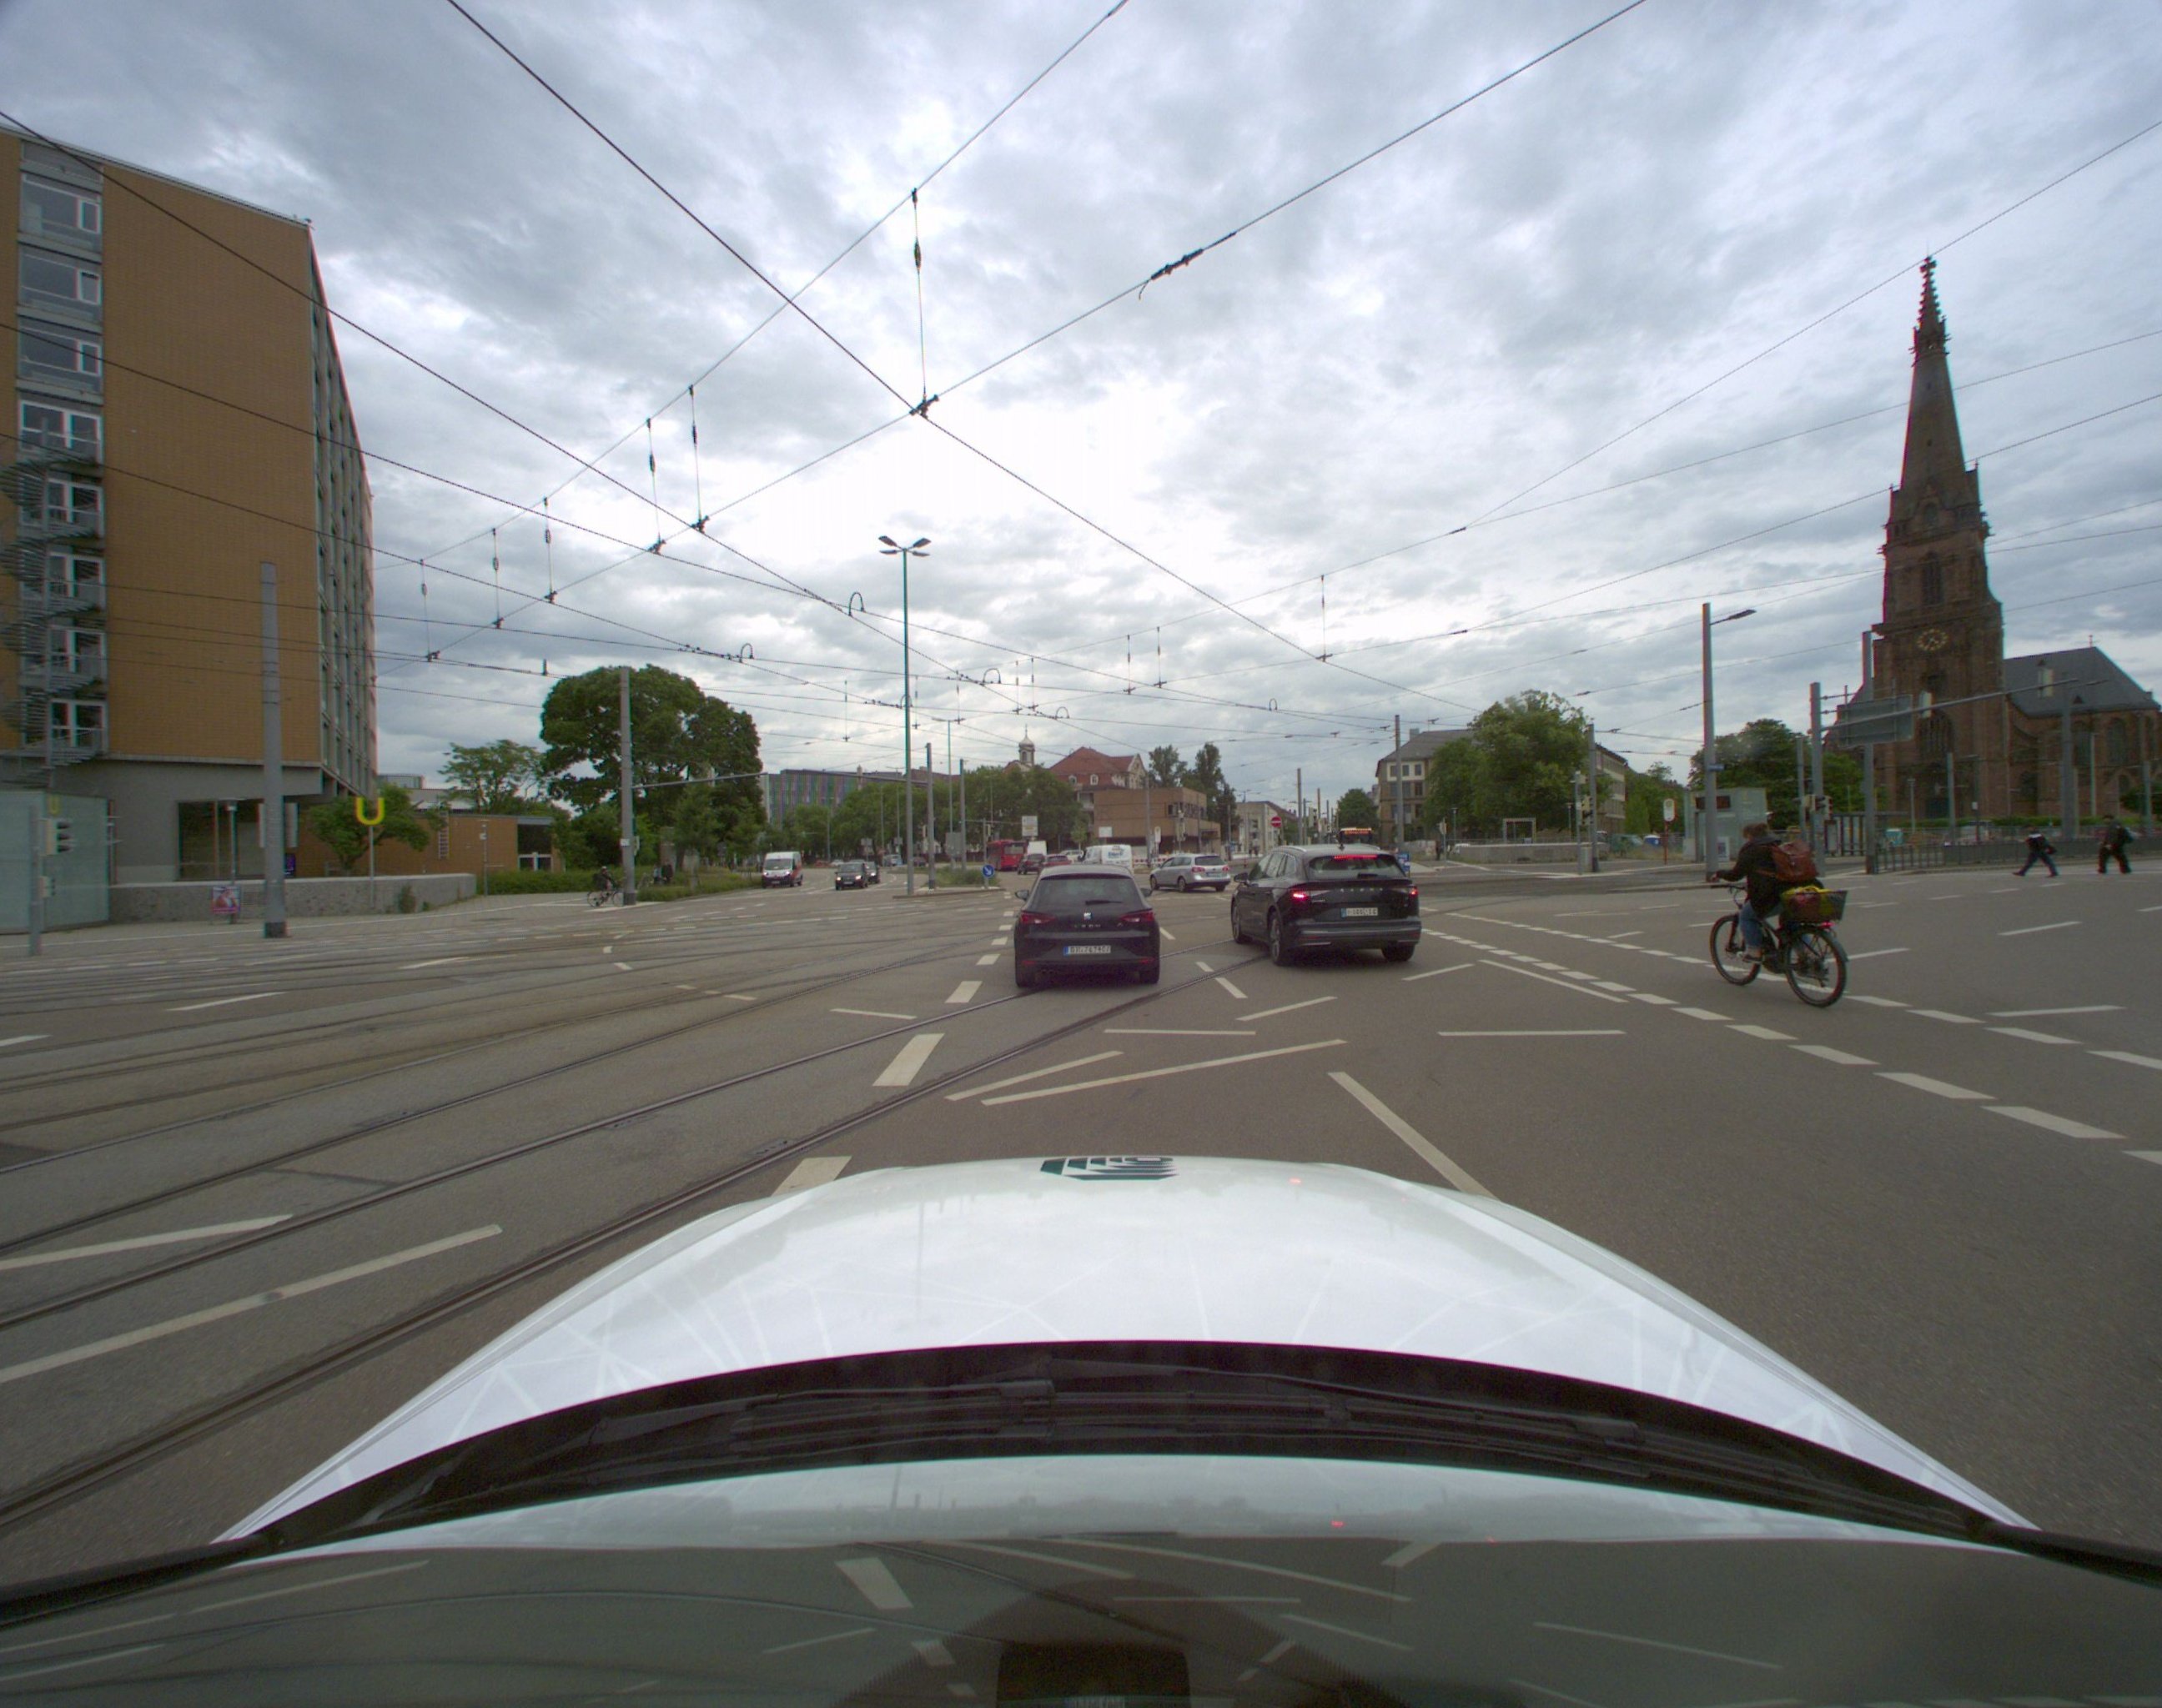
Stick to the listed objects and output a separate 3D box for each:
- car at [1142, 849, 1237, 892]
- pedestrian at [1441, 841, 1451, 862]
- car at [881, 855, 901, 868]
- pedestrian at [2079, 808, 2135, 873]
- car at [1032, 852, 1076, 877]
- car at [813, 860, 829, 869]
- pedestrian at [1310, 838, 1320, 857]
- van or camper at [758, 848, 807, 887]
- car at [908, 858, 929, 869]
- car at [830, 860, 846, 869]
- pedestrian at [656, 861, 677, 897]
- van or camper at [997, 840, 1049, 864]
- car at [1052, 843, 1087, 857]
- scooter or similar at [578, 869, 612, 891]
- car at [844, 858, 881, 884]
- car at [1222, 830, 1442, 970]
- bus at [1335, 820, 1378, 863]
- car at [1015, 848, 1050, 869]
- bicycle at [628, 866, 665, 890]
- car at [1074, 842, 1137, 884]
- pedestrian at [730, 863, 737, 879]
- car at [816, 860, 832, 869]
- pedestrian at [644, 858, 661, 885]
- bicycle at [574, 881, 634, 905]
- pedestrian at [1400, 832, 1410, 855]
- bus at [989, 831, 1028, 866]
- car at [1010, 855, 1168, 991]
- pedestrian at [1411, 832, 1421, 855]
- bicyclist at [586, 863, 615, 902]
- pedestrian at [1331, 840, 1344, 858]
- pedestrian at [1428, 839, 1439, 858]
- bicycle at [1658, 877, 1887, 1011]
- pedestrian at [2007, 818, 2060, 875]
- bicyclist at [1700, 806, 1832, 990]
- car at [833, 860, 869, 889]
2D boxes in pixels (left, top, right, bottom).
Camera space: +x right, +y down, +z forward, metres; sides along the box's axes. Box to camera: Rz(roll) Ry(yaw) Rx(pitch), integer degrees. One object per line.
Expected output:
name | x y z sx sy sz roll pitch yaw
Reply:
car | 4.203 0.627 32.233 1.727 1.482 4.596 -3 0 -21
pedestrian | 34.136 -0.244 76.182 0.816 1.853 1.027 -2 0 24
car | -30.387 1.271 130.307 2.007 2.013 3.960 -1 0 -31
pedestrian | 31.001 -0.387 24.617 0.893 1.912 0.789 -2 -1 43
car | -1.844 0.688 54.532 1.862 1.600 4.180 -2 0 -17
car | -50.402 2.070 157.914 2.008 1.681 3.968 -1 0 -33
pedestrian | 23.232 -0.674 80.846 0.816 1.808 1.027 -2 0 24
van or camper | -20.803 0.909 56.975 2.280 2.527 5.551 -3 0 -11
car | -23.874 1.384 119.338 2.005 1.539 3.964 -1 0 -28
car | -44.248 1.869 148.047 2.006 1.640 3.962 -1 0 -29
pedestrian | -23.356 1.399 45.903 0.818 1.980 0.657 -2 0 -7
van or camper | -8.471 -0.335 119.695 7.185 3.332 2.844 -2 -1 -36
car | -1.686 -0.638 124.544 5.027 1.864 1.978 -2 -3 -36
scooter or similar | -30.655 1.628 51.388 1.778 1.302 0.625 -2 0 -24
car | -14.502 1.119 54.265 1.871 1.508 4.463 -4 1 -10
car | 3.475 0.558 12.257 1.897 1.658 4.514 -2 0 0
bus | 24.047 -1.032 70.562 2.990 3.268 13.110 -2 0 21
car | -3.915 0.378 65.364 1.997 1.566 4.184 -2 0 -14
bicycle | -28.731 1.584 53.904 0.841 1.449 2.262 -2 0 13
car | 1.192 0.447 42.264 1.996 2.019 5.009 -2 0 -13
pedestrian | -34.144 1.673 80.046 0.562 1.541 0.751 -1 0 -15
car | -52.282 2.090 165.789 2.009 1.750 3.956 -1 0 -36
pedestrian | -27.920 1.128 53.059 0.746 1.733 0.684 -2 0 -7
bicycle | -21.120 1.738 36.065 2.108 1.028 0.794 0 -3 -3
pedestrian | 61.544 -1.954 154.808 1.378 4.253 1.351 -2 0 11
bus | -7.604 -0.458 83.860 3.058 3.297 12.339 -1 0 -9
car | 0.061 0.770 11.033 1.741 1.464 3.998 -1 0 -1
pedestrian | 63.523 -2.033 154.424 1.299 4.253 1.350 -2 0 8
bicyclist | -21.222 1.245 35.987 0.810 1.656 0.793 0 1 -2
pedestrian | 24.534 -0.487 77.963 0.995 1.645 1.027 -2 0 24
pedestrian | 33.270 -0.514 76.811 0.816 1.808 1.027 -3 -2 24
bicycle | 6.682 0.809 8.049 0.622 1.055 2.130 -2 0 6
pedestrian | 27.930 -0.208 23.891 0.893 1.643 0.789 -2 -1 43
bicyclist | 6.647 0.406 7.941 0.612 1.690 0.807 -1 0 6
car | -13.208 1.143 46.897 1.619 1.515 3.651 -3 0 -11
